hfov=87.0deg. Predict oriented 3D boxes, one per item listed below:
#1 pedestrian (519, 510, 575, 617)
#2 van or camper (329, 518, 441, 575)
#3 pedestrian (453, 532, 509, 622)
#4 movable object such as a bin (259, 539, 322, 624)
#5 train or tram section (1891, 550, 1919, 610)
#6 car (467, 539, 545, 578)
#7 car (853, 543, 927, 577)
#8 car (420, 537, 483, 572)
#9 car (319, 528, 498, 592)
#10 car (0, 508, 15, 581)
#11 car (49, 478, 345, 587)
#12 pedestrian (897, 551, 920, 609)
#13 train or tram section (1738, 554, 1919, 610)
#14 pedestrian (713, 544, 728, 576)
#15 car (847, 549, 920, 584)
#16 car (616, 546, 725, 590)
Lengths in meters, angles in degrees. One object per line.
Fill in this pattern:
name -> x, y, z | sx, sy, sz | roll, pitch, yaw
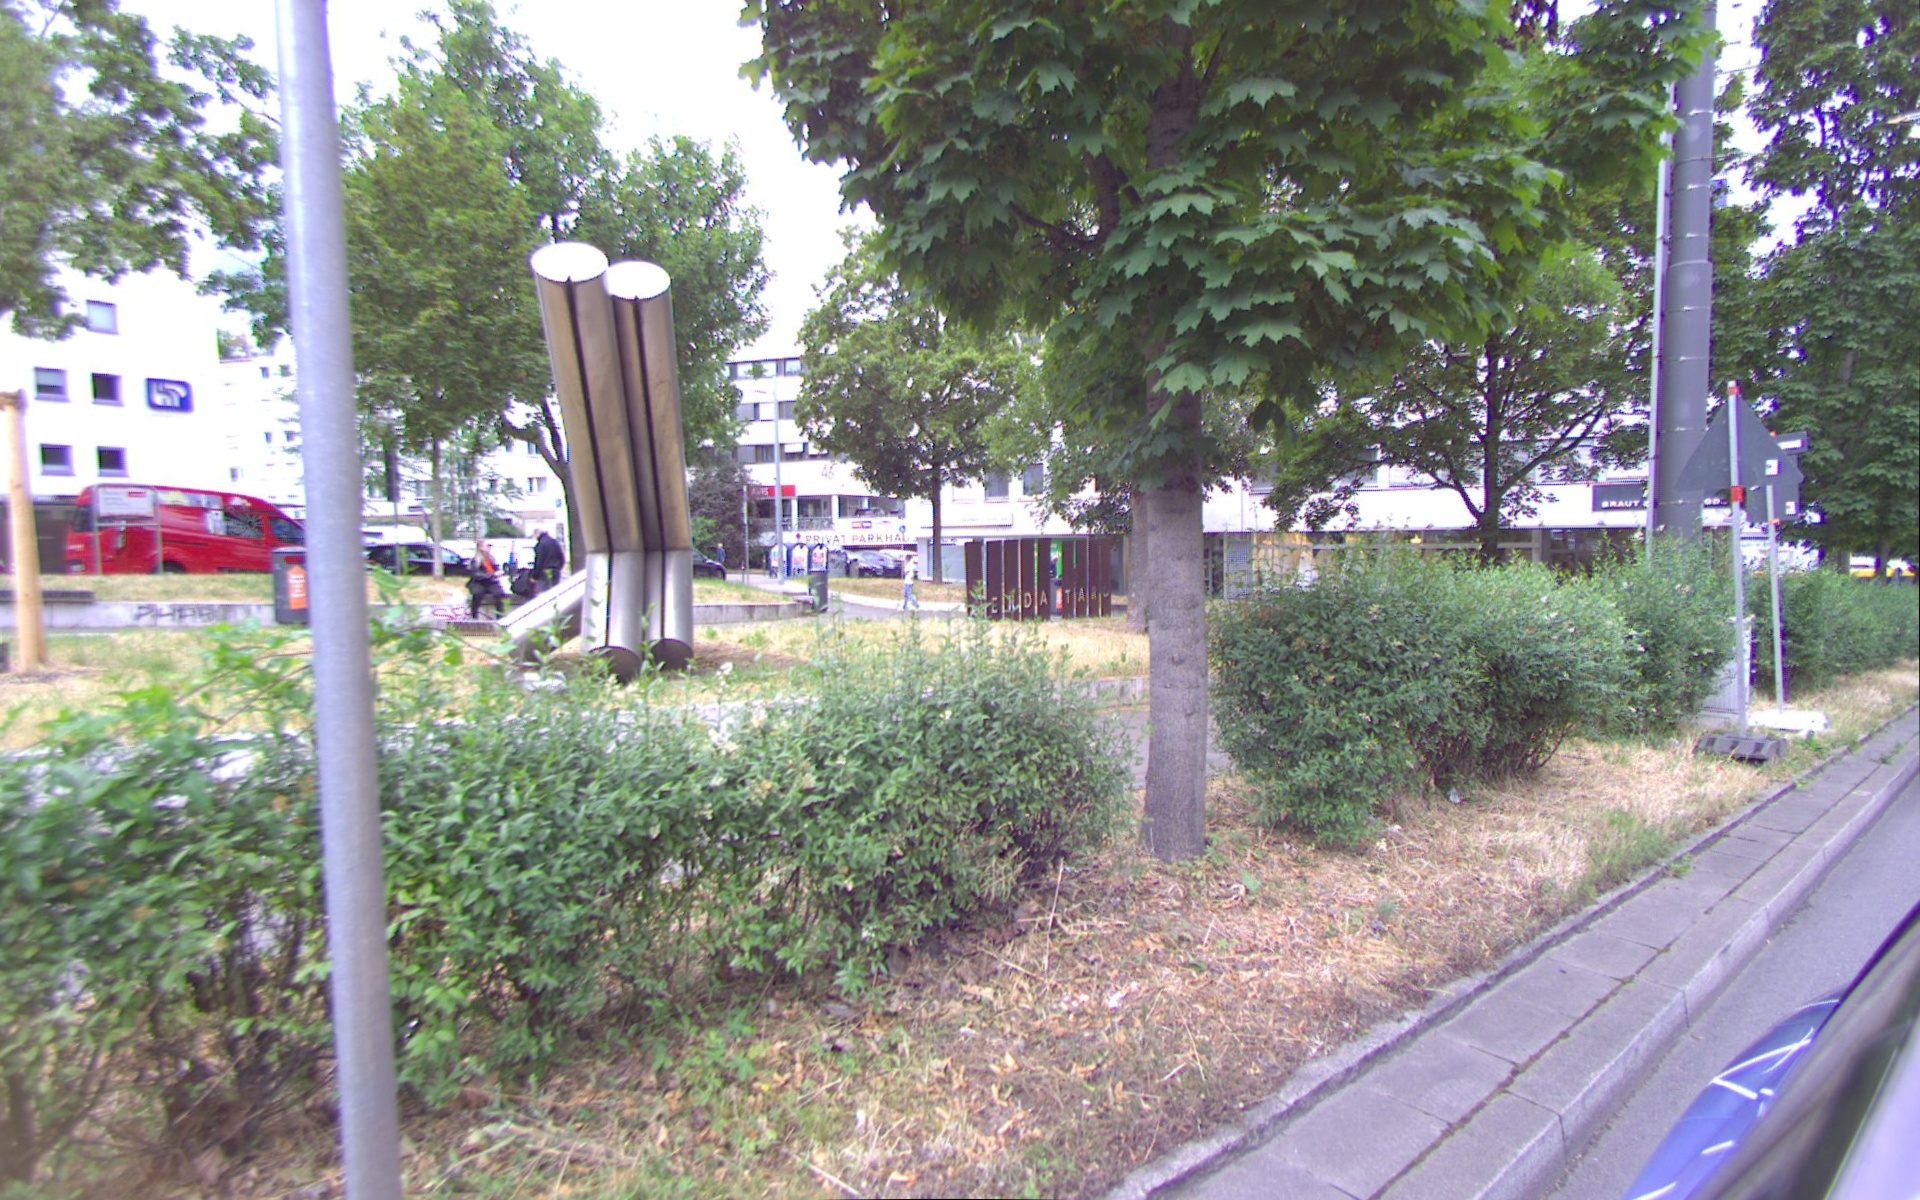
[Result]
pedestrian -> -6.193, -0.542, 15.171 | 0.609, 1.561, 0.549 | 0, 2, -43
van or camper -> -26.248, -2.401, 46.119 | 5.403, 2.258, 2.273 | -2, 1, 35
pedestrian -> -7.182, -0.345, 15.160 | 0.609, 1.317, 0.549 | 0, 2, -43
movable object such as a bin -> -8.975, -0.249, 13.563 | 0.599, 1.095, 0.670 | -3, 1, -40
train or tram section -> 58.734, -1.038, 57.239 | 2.891, 3.602, 14.161 | -2, 2, 16
car -> -24.704, -2.227, 55.037 | 4.437, 1.909, 1.974 | -2, 1, 37
car -> -3.722, -2.134, 53.709 | 3.583, 1.694, 1.588 | 2, 2, 22
car -> -29.555, -2.618, 58.753 | 3.638, 1.825, 1.601 | -2, 1, 33
car -> -14.732, -1.068, 27.316 | 1.731, 1.527, 4.124 | -2, 1, 20
car -> -18.581, -0.923, 16.818 | 1.600, 1.295, 3.896 | -2, 1, 21
car -> -16.638, -1.368, 22.449 | 2.003, 2.053, 4.950 | -2, 0, 20
pedestrian -> -1.406, -0.552, 27.634 | 0.529, 1.541, 0.574 | 1, 1, -9
train or tram section -> 61.329, -1.289, 71.230 | 2.839, 3.484, 14.216 | -3, 1, 4
pedestrian -> -12.768, -2.155, 54.016 | 0.567, 1.688, 0.498 | 2, 2, 21
car -> -3.864, -1.691, 51.278 | 3.348, 1.669, 1.588 | 2, 2, 22
car -> -10.811, -1.231, 38.092 | 1.733, 1.516, 4.120 | -2, 2, 23
